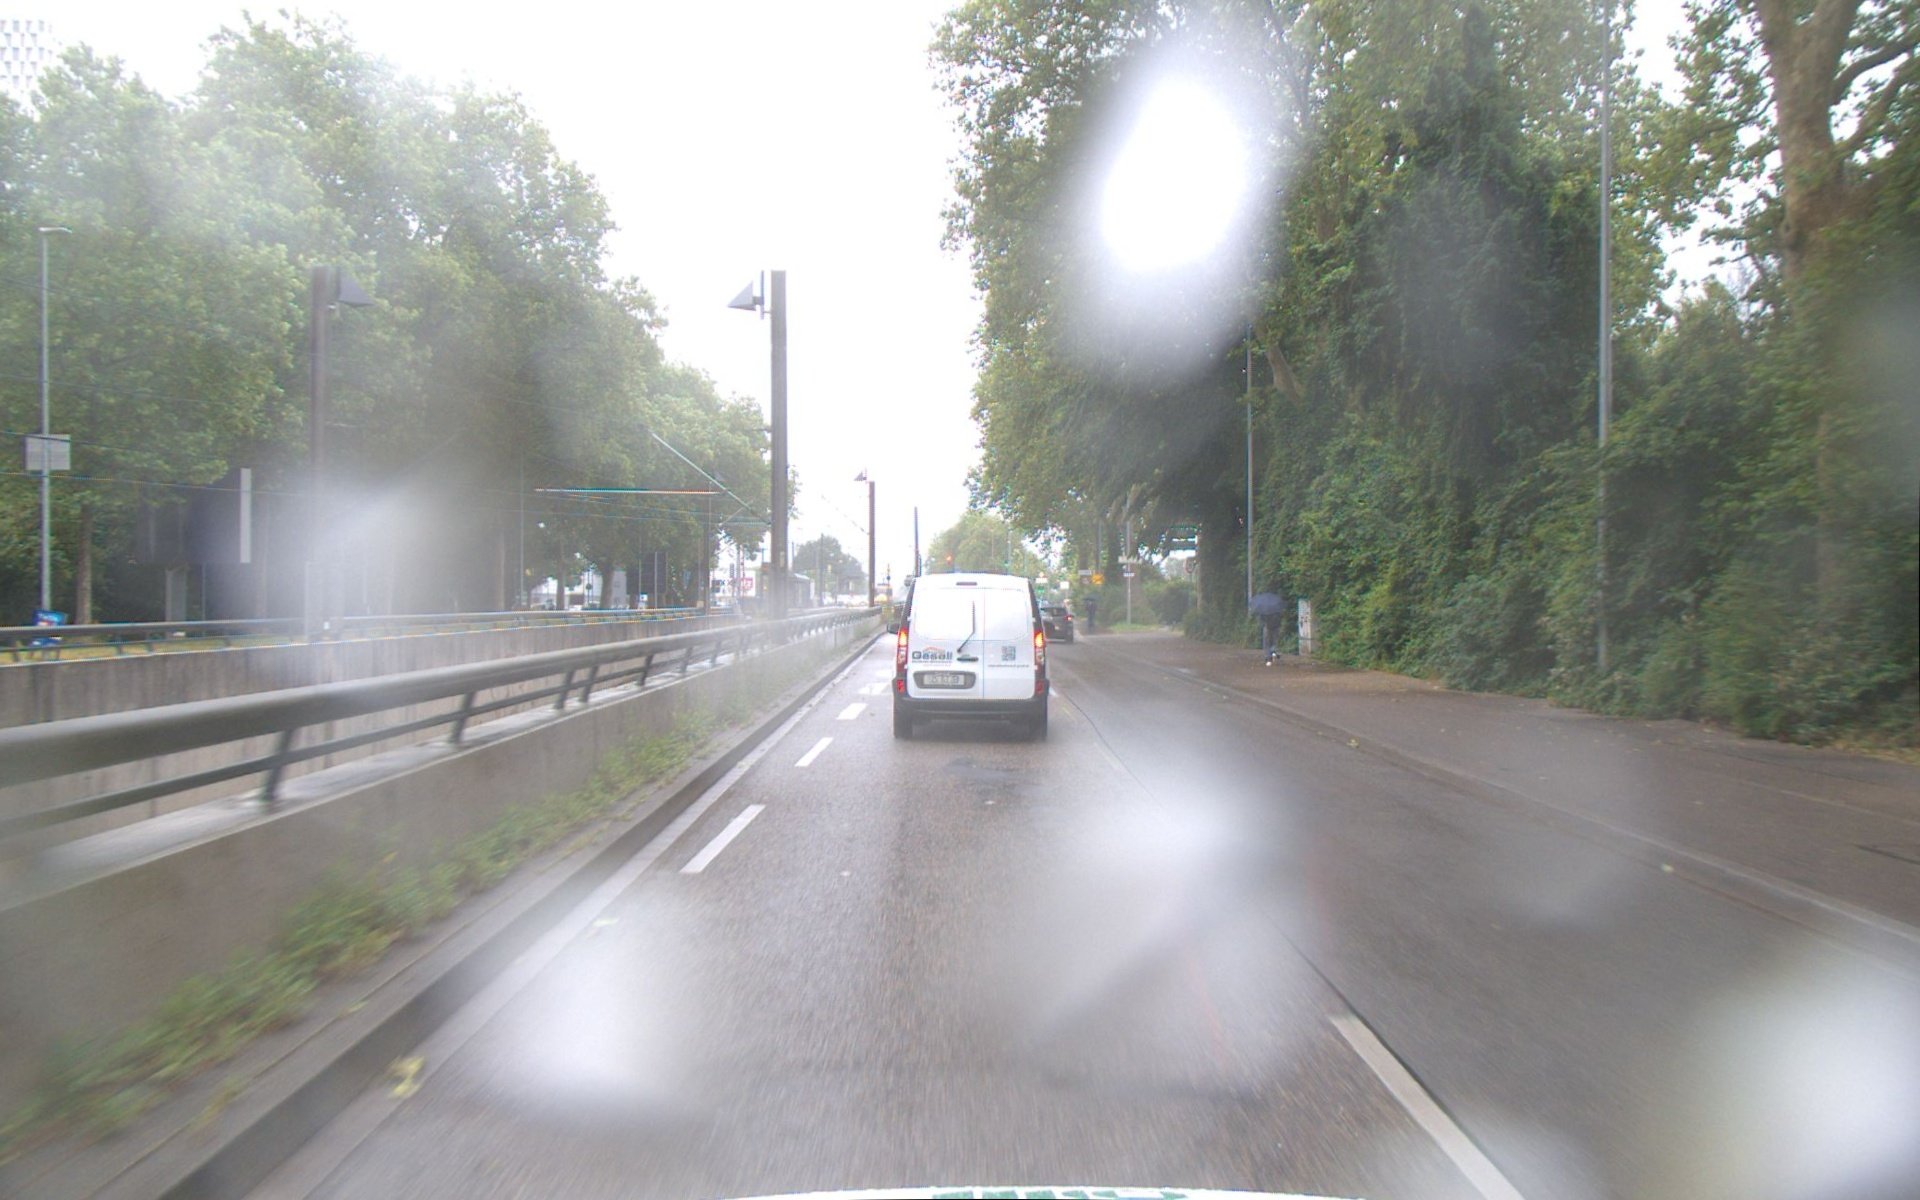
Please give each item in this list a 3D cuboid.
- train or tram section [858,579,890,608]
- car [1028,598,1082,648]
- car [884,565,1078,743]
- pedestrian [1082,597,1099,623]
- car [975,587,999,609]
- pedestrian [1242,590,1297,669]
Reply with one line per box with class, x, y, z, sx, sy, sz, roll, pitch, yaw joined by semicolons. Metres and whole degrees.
train or tram section;-12.906;-0.900;250.164;3.694;4.107;27.087;2;0;-1
car;3.659;0.871;63.786;1.952;1.780;4.001;2;0;3
car;0.171;0.569;19.560;1.984;1.806;4.273;2;0;-2
pedestrian;7.151;0.556;90.822;0.874;1.415;1.016;-2;0;1
car;2.262;-0.147;138.983;1.953;1.780;4.000;2;0;0
pedestrian;7.004;0.656;37.474;0.947;1.732;1.141;3;0;0
